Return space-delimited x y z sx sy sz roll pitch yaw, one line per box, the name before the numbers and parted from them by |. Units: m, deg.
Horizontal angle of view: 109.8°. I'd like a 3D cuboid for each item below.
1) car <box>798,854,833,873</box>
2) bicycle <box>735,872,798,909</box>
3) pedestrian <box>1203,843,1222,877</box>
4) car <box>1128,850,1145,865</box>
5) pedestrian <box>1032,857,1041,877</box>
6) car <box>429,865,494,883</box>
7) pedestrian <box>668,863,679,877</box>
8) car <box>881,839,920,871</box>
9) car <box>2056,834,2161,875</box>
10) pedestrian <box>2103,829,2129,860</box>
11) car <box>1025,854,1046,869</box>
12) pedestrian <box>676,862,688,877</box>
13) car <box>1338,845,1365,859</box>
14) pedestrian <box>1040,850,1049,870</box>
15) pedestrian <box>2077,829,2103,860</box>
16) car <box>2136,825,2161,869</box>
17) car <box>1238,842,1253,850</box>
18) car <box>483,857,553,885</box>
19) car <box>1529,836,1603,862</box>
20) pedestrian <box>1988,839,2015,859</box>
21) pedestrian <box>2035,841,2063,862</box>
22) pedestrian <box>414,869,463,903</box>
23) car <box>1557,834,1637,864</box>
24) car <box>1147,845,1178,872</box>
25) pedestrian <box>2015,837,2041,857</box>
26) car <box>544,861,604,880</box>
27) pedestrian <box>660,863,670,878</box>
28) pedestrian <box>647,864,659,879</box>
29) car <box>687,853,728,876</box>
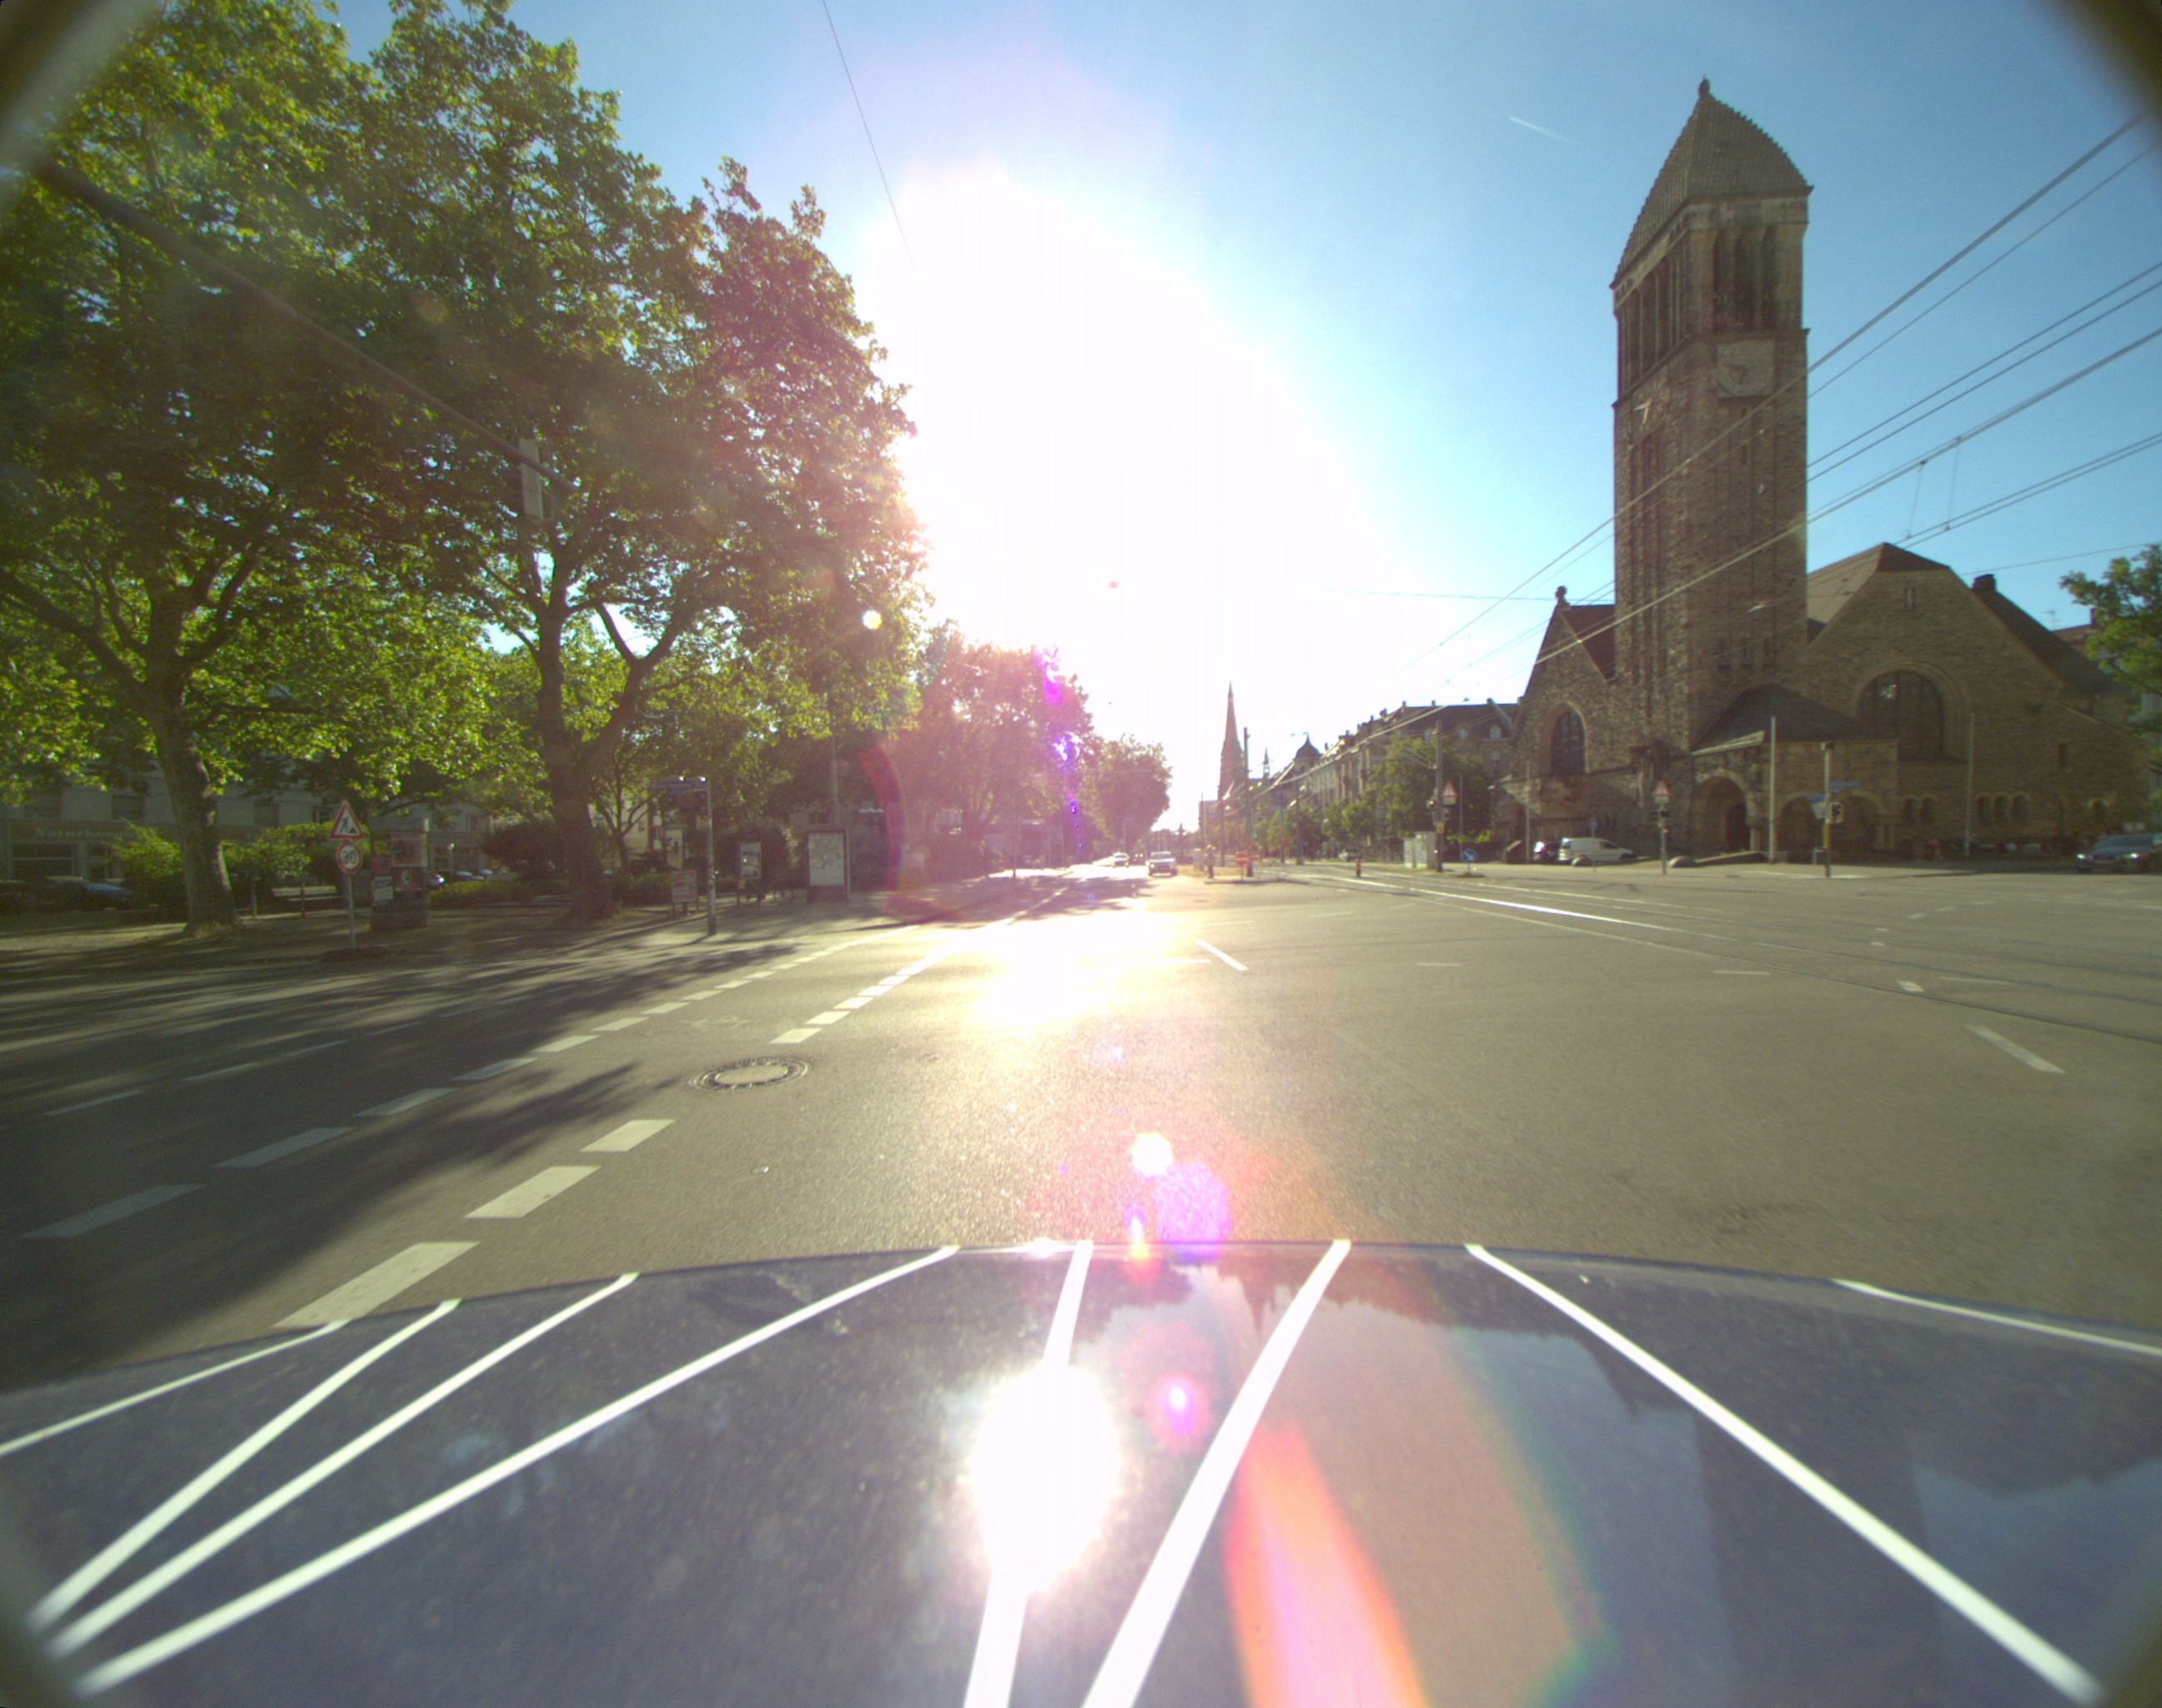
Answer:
car | -25.053 0.865 71.874 1.806 1.649 4.180 -2 0 1
bicycle | -10.093 1.155 24.412 1.826 1.047 0.534 -3 1 -23
pedestrian | 6.423 0.292 37.143 0.678 1.612 0.925 -3 1 1
car | 7.600 0.454 104.046 2.314 1.957 4.790 0 1 4
pedestrian | -4.066 1.188 69.531 0.631 1.833 0.540 -3 1 2
car | -53.984 1.729 66.281 4.348 1.512 1.780 1 1 4
pedestrian | -35.326 1.393 65.904 0.632 1.219 0.539 -3 1 -14
car | -16.797 0.059 70.904 1.998 2.726 4.715 -3 1 4
car | 42.048 0.016 30.820 4.289 1.411 1.839 -3 1 -20
pedestrian | 54.961 -0.480 40.339 0.468 1.612 0.651 -3 1 -6
car | -4.714 0.765 79.202 1.720 1.319 3.754 -3 1 4
pedestrian | -34.554 1.351 65.849 0.630 1.219 0.540 -3 1 14
car | 30.859 -0.250 86.792 1.786 1.521 4.214 -3 1 4
pedestrian | -3.340 0.536 69.390 0.631 1.833 0.540 -3 1 2
pedestrian | 54.654 -0.516 41.156 0.468 1.612 0.651 -5 1 -7
car | 49.806 -0.398 33.931 4.492 1.857 1.997 -3 1 -20
car | 29.488 -1.393 136.141 1.998 1.419 4.554 0 1 4
car | -44.634 1.320 60.308 3.996 1.905 2.048 -3 1 4
car | 34.619 -0.338 54.340 4.039 1.621 1.768 -3 1 4
pedestrian | 54.671 -0.314 45.131 0.765 1.121 0.784 -4 1 29
pedestrian | 55.988 -0.142 43.957 0.651 1.121 0.701 -5 1 13
pedestrian | -24.979 1.240 29.564 1.140 1.233 0.790 -3 1 3
car | 34.826 -0.346 51.393 4.023 1.795 1.870 -3 1 4
car | 5.045 0.261 47.378 1.636 1.491 4.000 -3 1 3
pedestrian | 55.282 -0.416 44.351 0.651 1.121 0.701 -4 1 20
car | -43.694 1.435 65.491 3.996 1.400 1.779 -3 1 4
pedestrian | -36.046 1.433 65.844 0.632 1.219 0.539 -3 1 -14
pedestrian | -37.156 1.493 65.927 0.631 1.219 0.540 -3 1 -4
car | -35.452 0.972 72.146 1.710 2.015 4.180 -2 0 1
